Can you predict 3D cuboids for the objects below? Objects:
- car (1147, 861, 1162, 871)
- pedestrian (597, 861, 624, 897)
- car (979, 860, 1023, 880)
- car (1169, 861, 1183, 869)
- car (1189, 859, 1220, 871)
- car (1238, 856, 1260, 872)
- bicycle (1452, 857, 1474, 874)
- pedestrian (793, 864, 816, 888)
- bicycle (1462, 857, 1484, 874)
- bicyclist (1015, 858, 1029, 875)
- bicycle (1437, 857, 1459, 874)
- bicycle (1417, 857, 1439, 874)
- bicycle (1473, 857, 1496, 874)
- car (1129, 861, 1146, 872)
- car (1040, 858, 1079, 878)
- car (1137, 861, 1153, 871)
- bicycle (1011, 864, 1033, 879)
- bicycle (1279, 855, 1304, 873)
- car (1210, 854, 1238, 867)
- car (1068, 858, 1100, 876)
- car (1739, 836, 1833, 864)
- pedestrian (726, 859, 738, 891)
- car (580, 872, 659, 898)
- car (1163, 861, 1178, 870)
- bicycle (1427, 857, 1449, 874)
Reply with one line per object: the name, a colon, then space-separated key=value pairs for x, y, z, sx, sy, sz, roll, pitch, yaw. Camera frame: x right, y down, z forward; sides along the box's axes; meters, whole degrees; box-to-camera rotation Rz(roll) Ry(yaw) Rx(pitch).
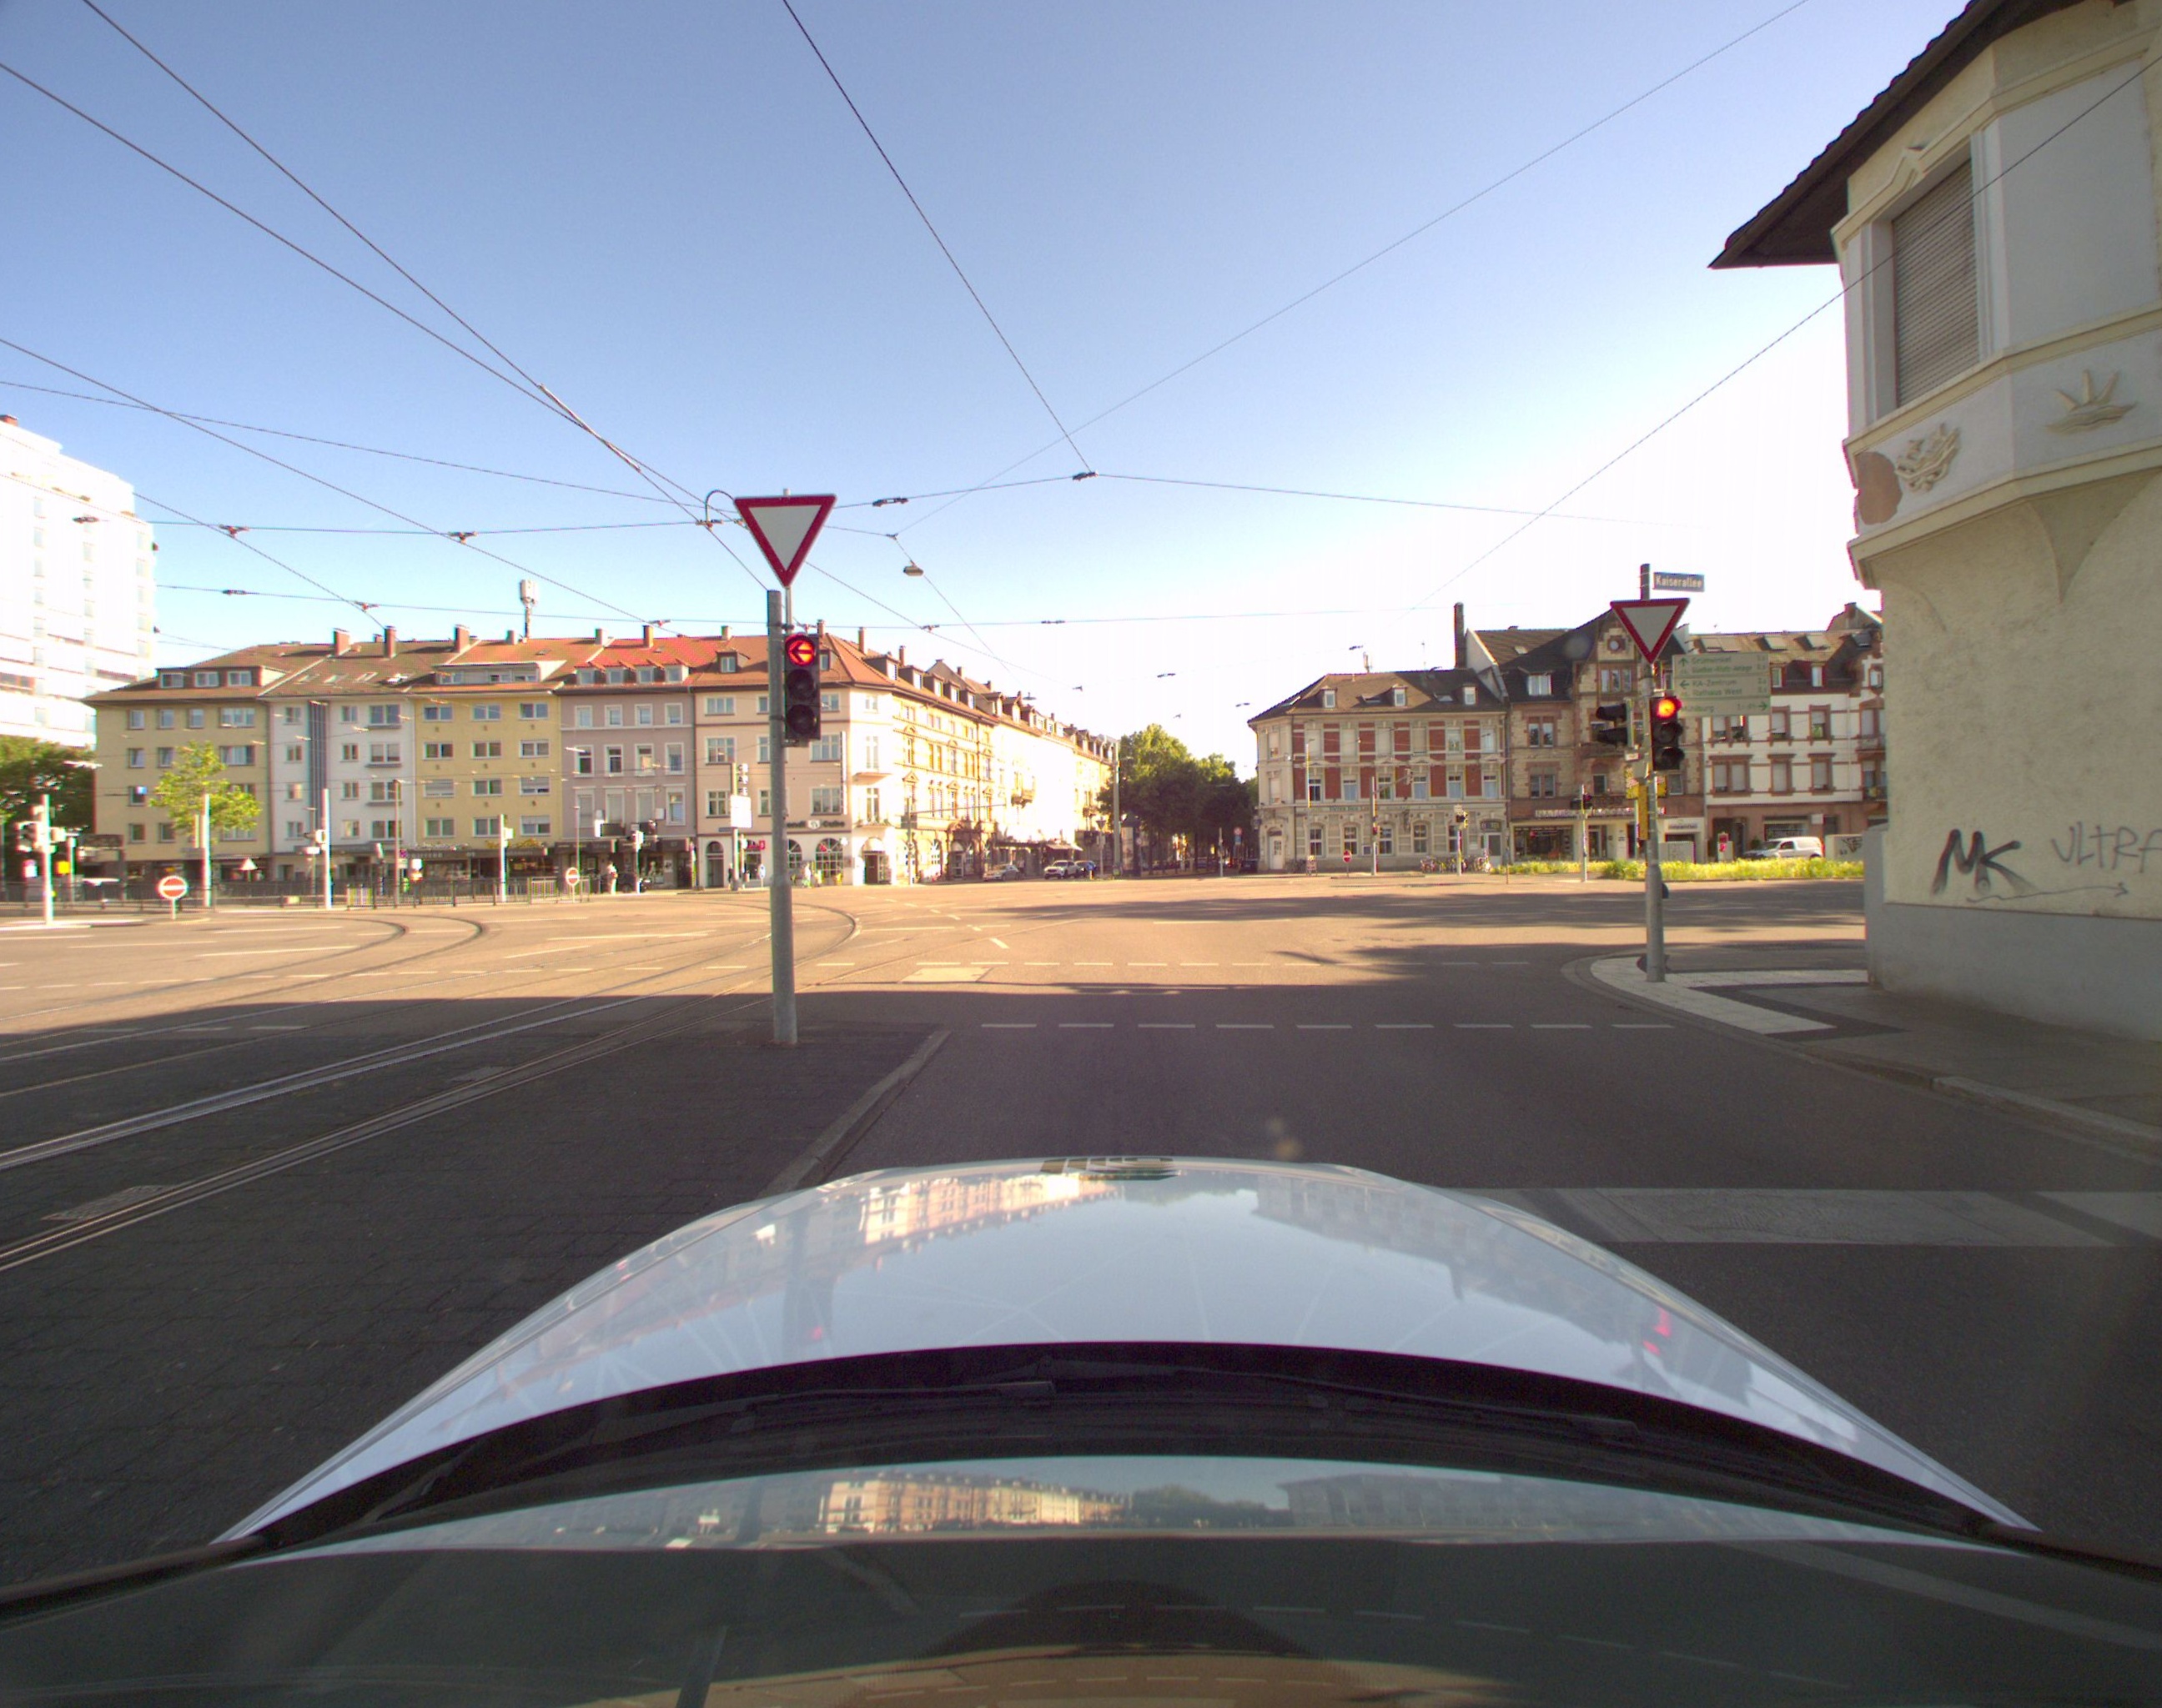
car: x=11.068 y=1.732 z=122.707 sx=1.729 sy=1.397 sz=4.137 roll=1 pitch=0 yaw=12
pedestrian: x=-24.567 y=1.314 z=42.554 sx=0.871 sy=1.818 sz=0.811 roll=-1 pitch=0 yaw=2
car: x=-6.595 y=1.307 z=67.697 sx=2.080 sy=1.545 sz=4.382 roll=-2 pitch=0 yaw=16
car: x=15.869 y=1.838 z=136.201 sx=1.728 sy=1.397 sz=4.141 roll=1 pitch=0 yaw=16
car: x=17.490 y=1.529 z=114.990 sx=4.078 sy=1.646 sz=1.754 roll=1 pitch=0 yaw=17
car: x=16.909 y=0.994 z=82.049 sx=1.637 sy=1.524 sz=3.772 roll=-2 pitch=-1 yaw=20
bicycle: x=24.642 y=0.723 z=52.567 sx=0.603 sy=1.051 sz=1.641 roll=-1 pitch=0 yaw=-3
pedestrian: x=-18.567 y=1.466 z=54.682 sx=1.060 sy=1.591 sz=1.043 roll=-1 pitch=0 yaw=4
bicycle: x=25.317 y=0.718 z=52.617 sx=0.603 sy=1.051 sz=1.641 roll=-1 pitch=0 yaw=-3
bicyclist: x=-4.763 y=0.990 z=65.869 sx=0.787 sy=1.375 sz=1.113 roll=-1 pitch=0 yaw=16
bicycle: x=23.816 y=0.732 z=52.867 sx=0.603 sy=1.051 sz=1.641 roll=-1 pitch=0 yaw=-3
bicycle: x=22.499 y=0.741 z=52.837 sx=0.603 sy=1.051 sz=1.641 roll=-1 pitch=0 yaw=-3
bicycle: x=26.056 y=0.713 z=52.609 sx=0.603 sy=1.051 sz=1.641 roll=-1 pitch=0 yaw=-3
car: x=7.607 y=1.654 z=110.000 sx=1.729 sy=1.397 sz=4.137 roll=1 pitch=0 yaw=12
car: x=-1.727 y=1.166 z=67.367 sx=2.080 sy=1.499 sz=4.017 roll=-2 pitch=0 yaw=16
car: x=9.181 y=1.689 z=115.770 sx=1.729 sy=1.397 sz=4.137 roll=1 pitch=0 yaw=12
bicycle: x=-4.766 y=1.434 z=65.897 sx=0.745 sy=1.135 sz=2.821 roll=-1 pitch=0 yaw=16
bicycle: x=14.699 y=0.693 z=56.937 sx=1.625 sy=1.222 sz=0.609 roll=-1 pitch=0 yaw=18
car: x=23.377 y=1.090 z=133.069 sx=4.074 sy=1.919 sz=1.756 roll=1 pitch=0 yaw=23
car: x=0.294 y=1.154 z=73.690 sx=1.979 sy=1.513 sz=4.015 roll=-1 pitch=0 yaw=14
car: x=45.387 y=-0.231 z=52.469 sx=4.356 sy=1.654 sz=1.999 roll=-1 pitch=0 yaw=-2
pedestrian: x=-22.775 y=1.361 z=53.120 sx=0.506 sy=2.013 sz=0.505 roll=-1 pitch=0 yaw=5
car: x=-30.271 y=1.996 z=53.531 sx=3.978 sy=1.464 sz=1.998 roll=-2 pitch=0 yaw=-4
car: x=14.446 y=1.814 z=131.454 sx=1.728 sy=1.397 sz=4.141 roll=1 pitch=0 yaw=16
bicycle: x=23.152 y=0.737 z=52.867 sx=0.603 sy=1.051 sz=1.641 roll=-1 pitch=0 yaw=-3
